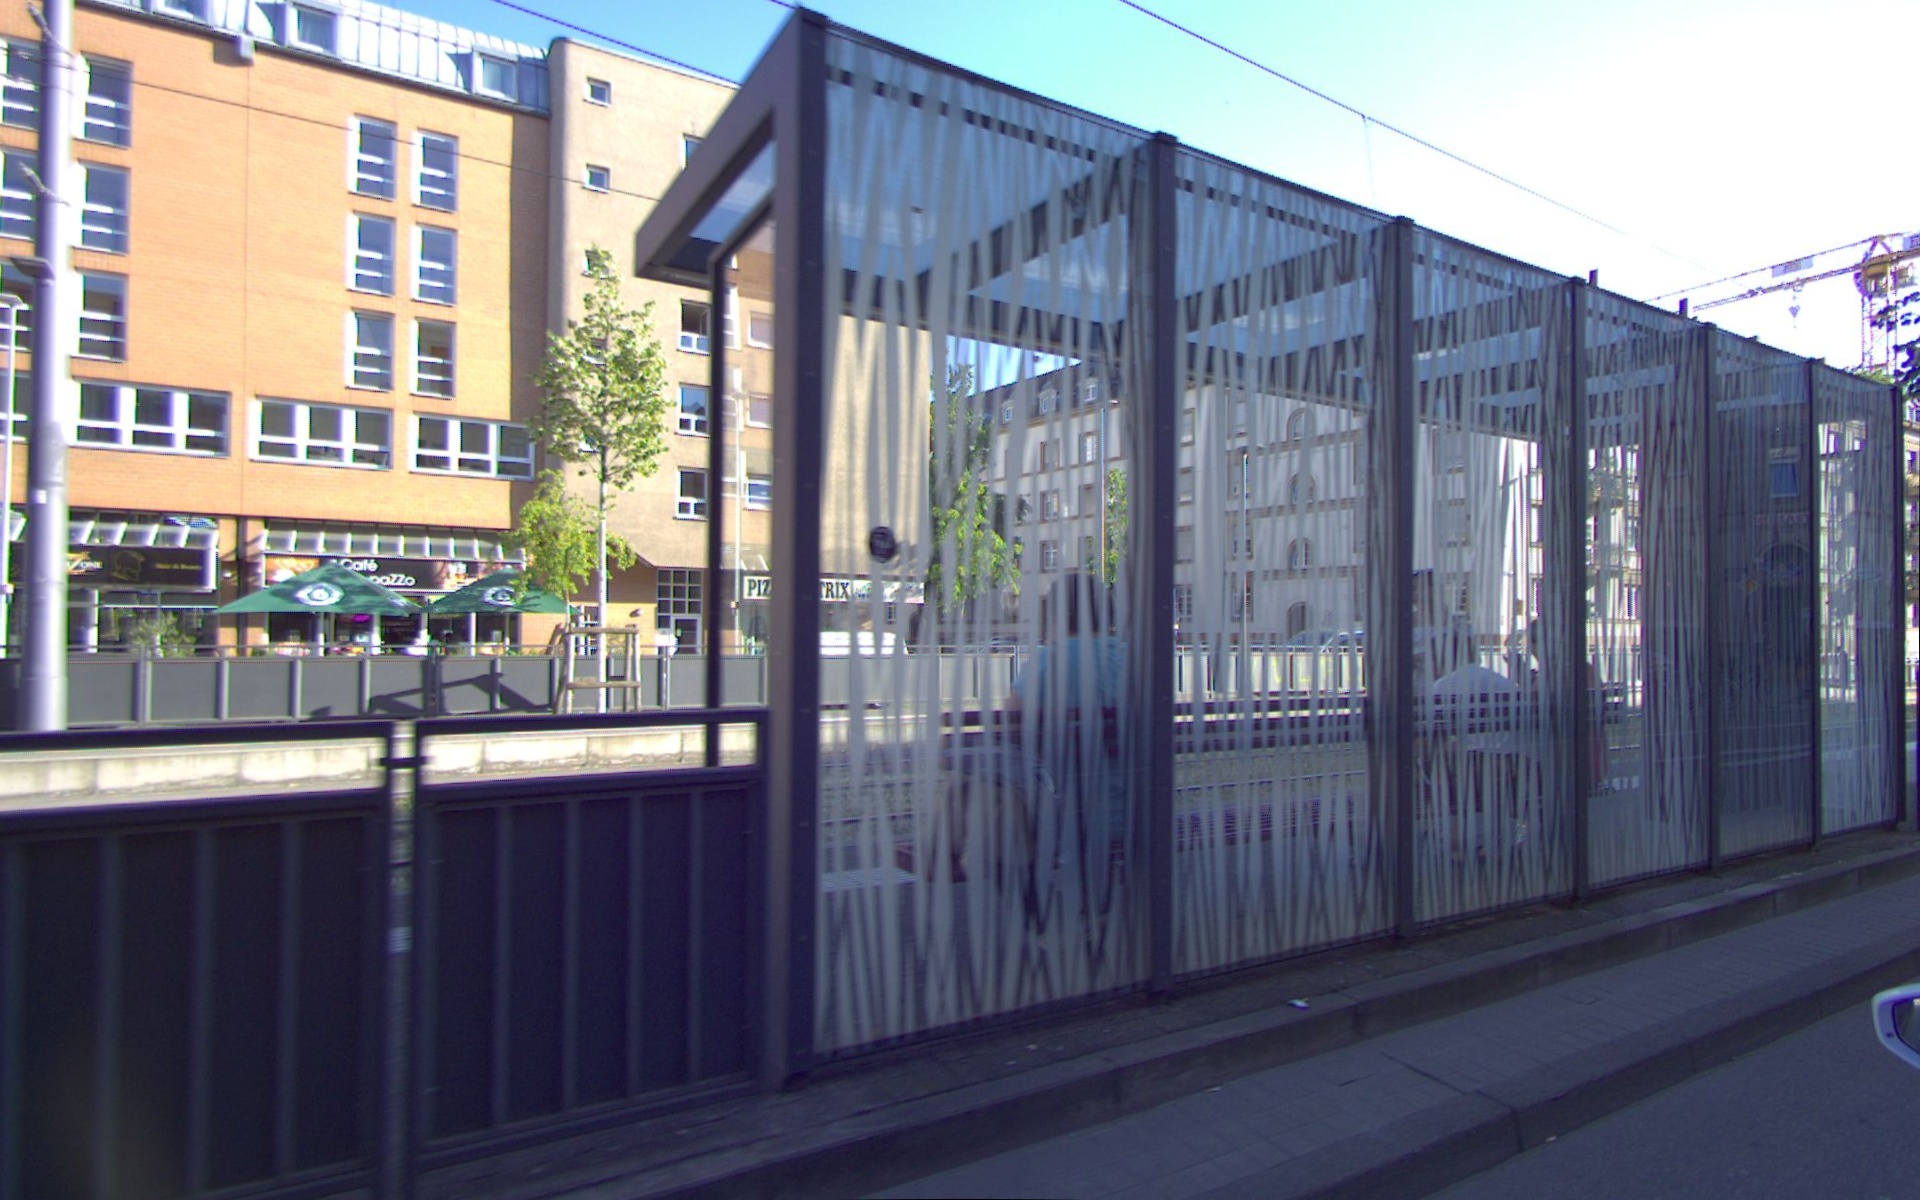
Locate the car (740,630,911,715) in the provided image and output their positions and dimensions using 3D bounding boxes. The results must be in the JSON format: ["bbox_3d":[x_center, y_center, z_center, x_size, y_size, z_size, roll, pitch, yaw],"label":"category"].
[{"bbox_3d":[-3.567,1.839,26.525,4.090,2.040,1.988,0,-2,-25],"label":"car"}]

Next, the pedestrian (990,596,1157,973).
[{"bbox_3d":[0.399,0.599,3.523,0.426,1.206,0.402,2,-2,-42],"label":"pedestrian"}]

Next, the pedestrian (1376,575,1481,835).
[{"bbox_3d":[2.667,0.575,5.723,0.404,1.404,0.424,2,-2,-42],"label":"pedestrian"}]

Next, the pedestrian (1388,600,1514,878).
[{"bbox_3d":[2.282,0.613,4.668,0.426,1.206,0.402,2,-2,-42],"label":"pedestrian"}]
